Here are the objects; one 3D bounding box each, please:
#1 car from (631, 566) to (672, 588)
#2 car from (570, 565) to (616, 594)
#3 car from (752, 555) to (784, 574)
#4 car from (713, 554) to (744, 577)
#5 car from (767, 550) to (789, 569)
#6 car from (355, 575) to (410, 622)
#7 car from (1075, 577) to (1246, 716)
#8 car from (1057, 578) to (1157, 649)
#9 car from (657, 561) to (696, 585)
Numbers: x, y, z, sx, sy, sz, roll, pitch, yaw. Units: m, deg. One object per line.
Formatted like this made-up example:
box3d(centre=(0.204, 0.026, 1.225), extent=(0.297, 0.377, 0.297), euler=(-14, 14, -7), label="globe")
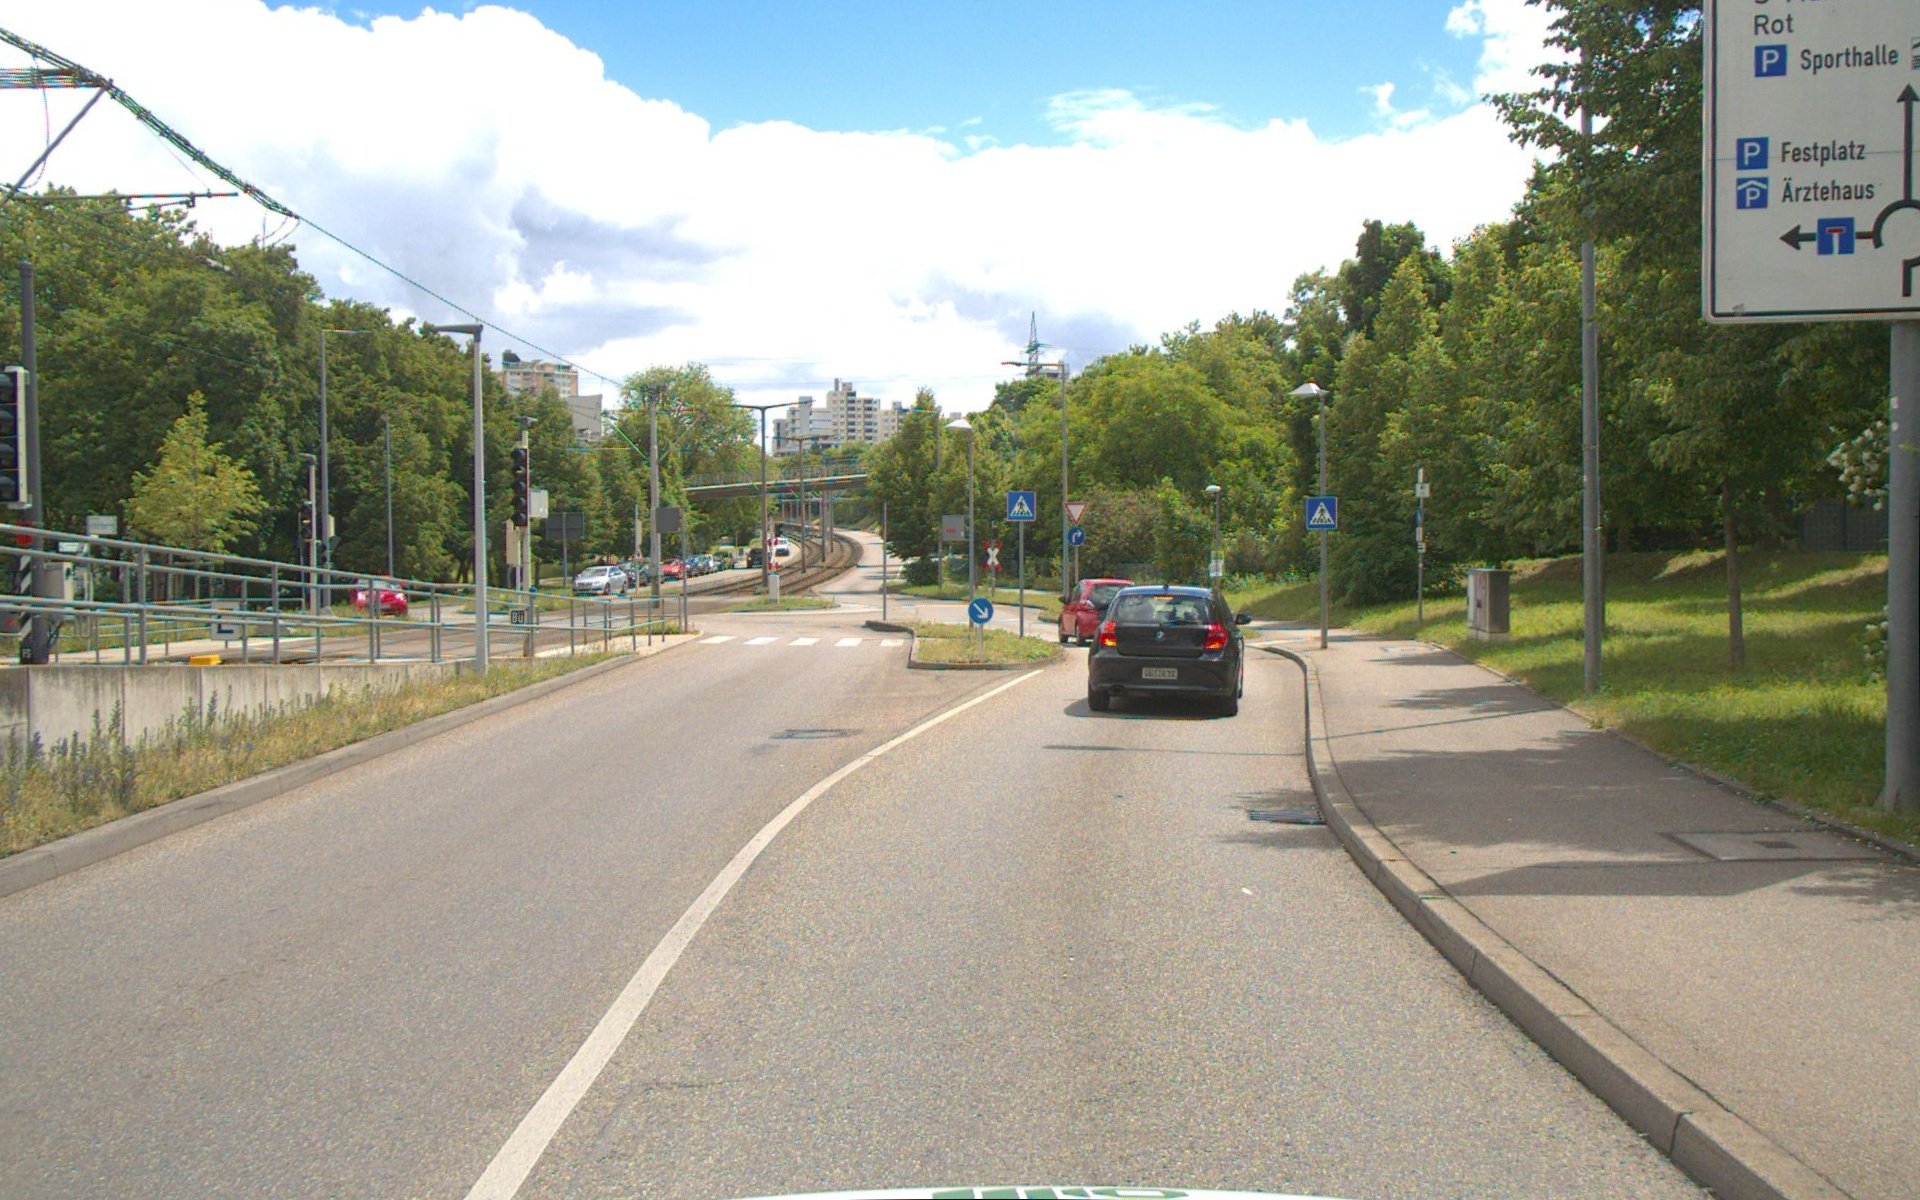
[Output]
box3d(centre=(-19.631, -1.457, 105.422), extent=(1.768, 1.275, 3.570), euler=(-1, 2, 3), label="car")
box3d(centre=(-18.497, -1.056, 83.438), extent=(1.841, 1.373, 3.826), euler=(-2, 2, -7), label="car")
box3d(centre=(-16.755, -3.103, 144.754), extent=(1.951, 1.625, 4.422), euler=(-1, 1, 4), label="car")
box3d(centre=(-19.866, -2.992, 142.255), extent=(1.952, 1.895, 4.002), euler=(0, 2, 2), label="car")
box3d(centre=(-19.915, -4.436, 180.958), extent=(1.958, 2.048, 3.989), euler=(-1, 1, -12), label="car")
box3d(centre=(-19.936, -0.071, 57.027), extent=(1.695, 1.529, 2.948), euler=(-1, 1, -21), label="car")
box3d(centre=(2.482, 0.496, 19.697), extent=(1.776, 1.445, 4.004), euler=(-2, 0, 10), label="car")
box3d(centre=(3.239, 0.279, 36.962), extent=(1.730, 1.457, 3.477), euler=(-2, 0, -3), label="car")
box3d(centre=(-19.785, -1.918, 115.660), extent=(1.873, 1.588, 4.002), euler=(-1, 1, 2), label="car")
